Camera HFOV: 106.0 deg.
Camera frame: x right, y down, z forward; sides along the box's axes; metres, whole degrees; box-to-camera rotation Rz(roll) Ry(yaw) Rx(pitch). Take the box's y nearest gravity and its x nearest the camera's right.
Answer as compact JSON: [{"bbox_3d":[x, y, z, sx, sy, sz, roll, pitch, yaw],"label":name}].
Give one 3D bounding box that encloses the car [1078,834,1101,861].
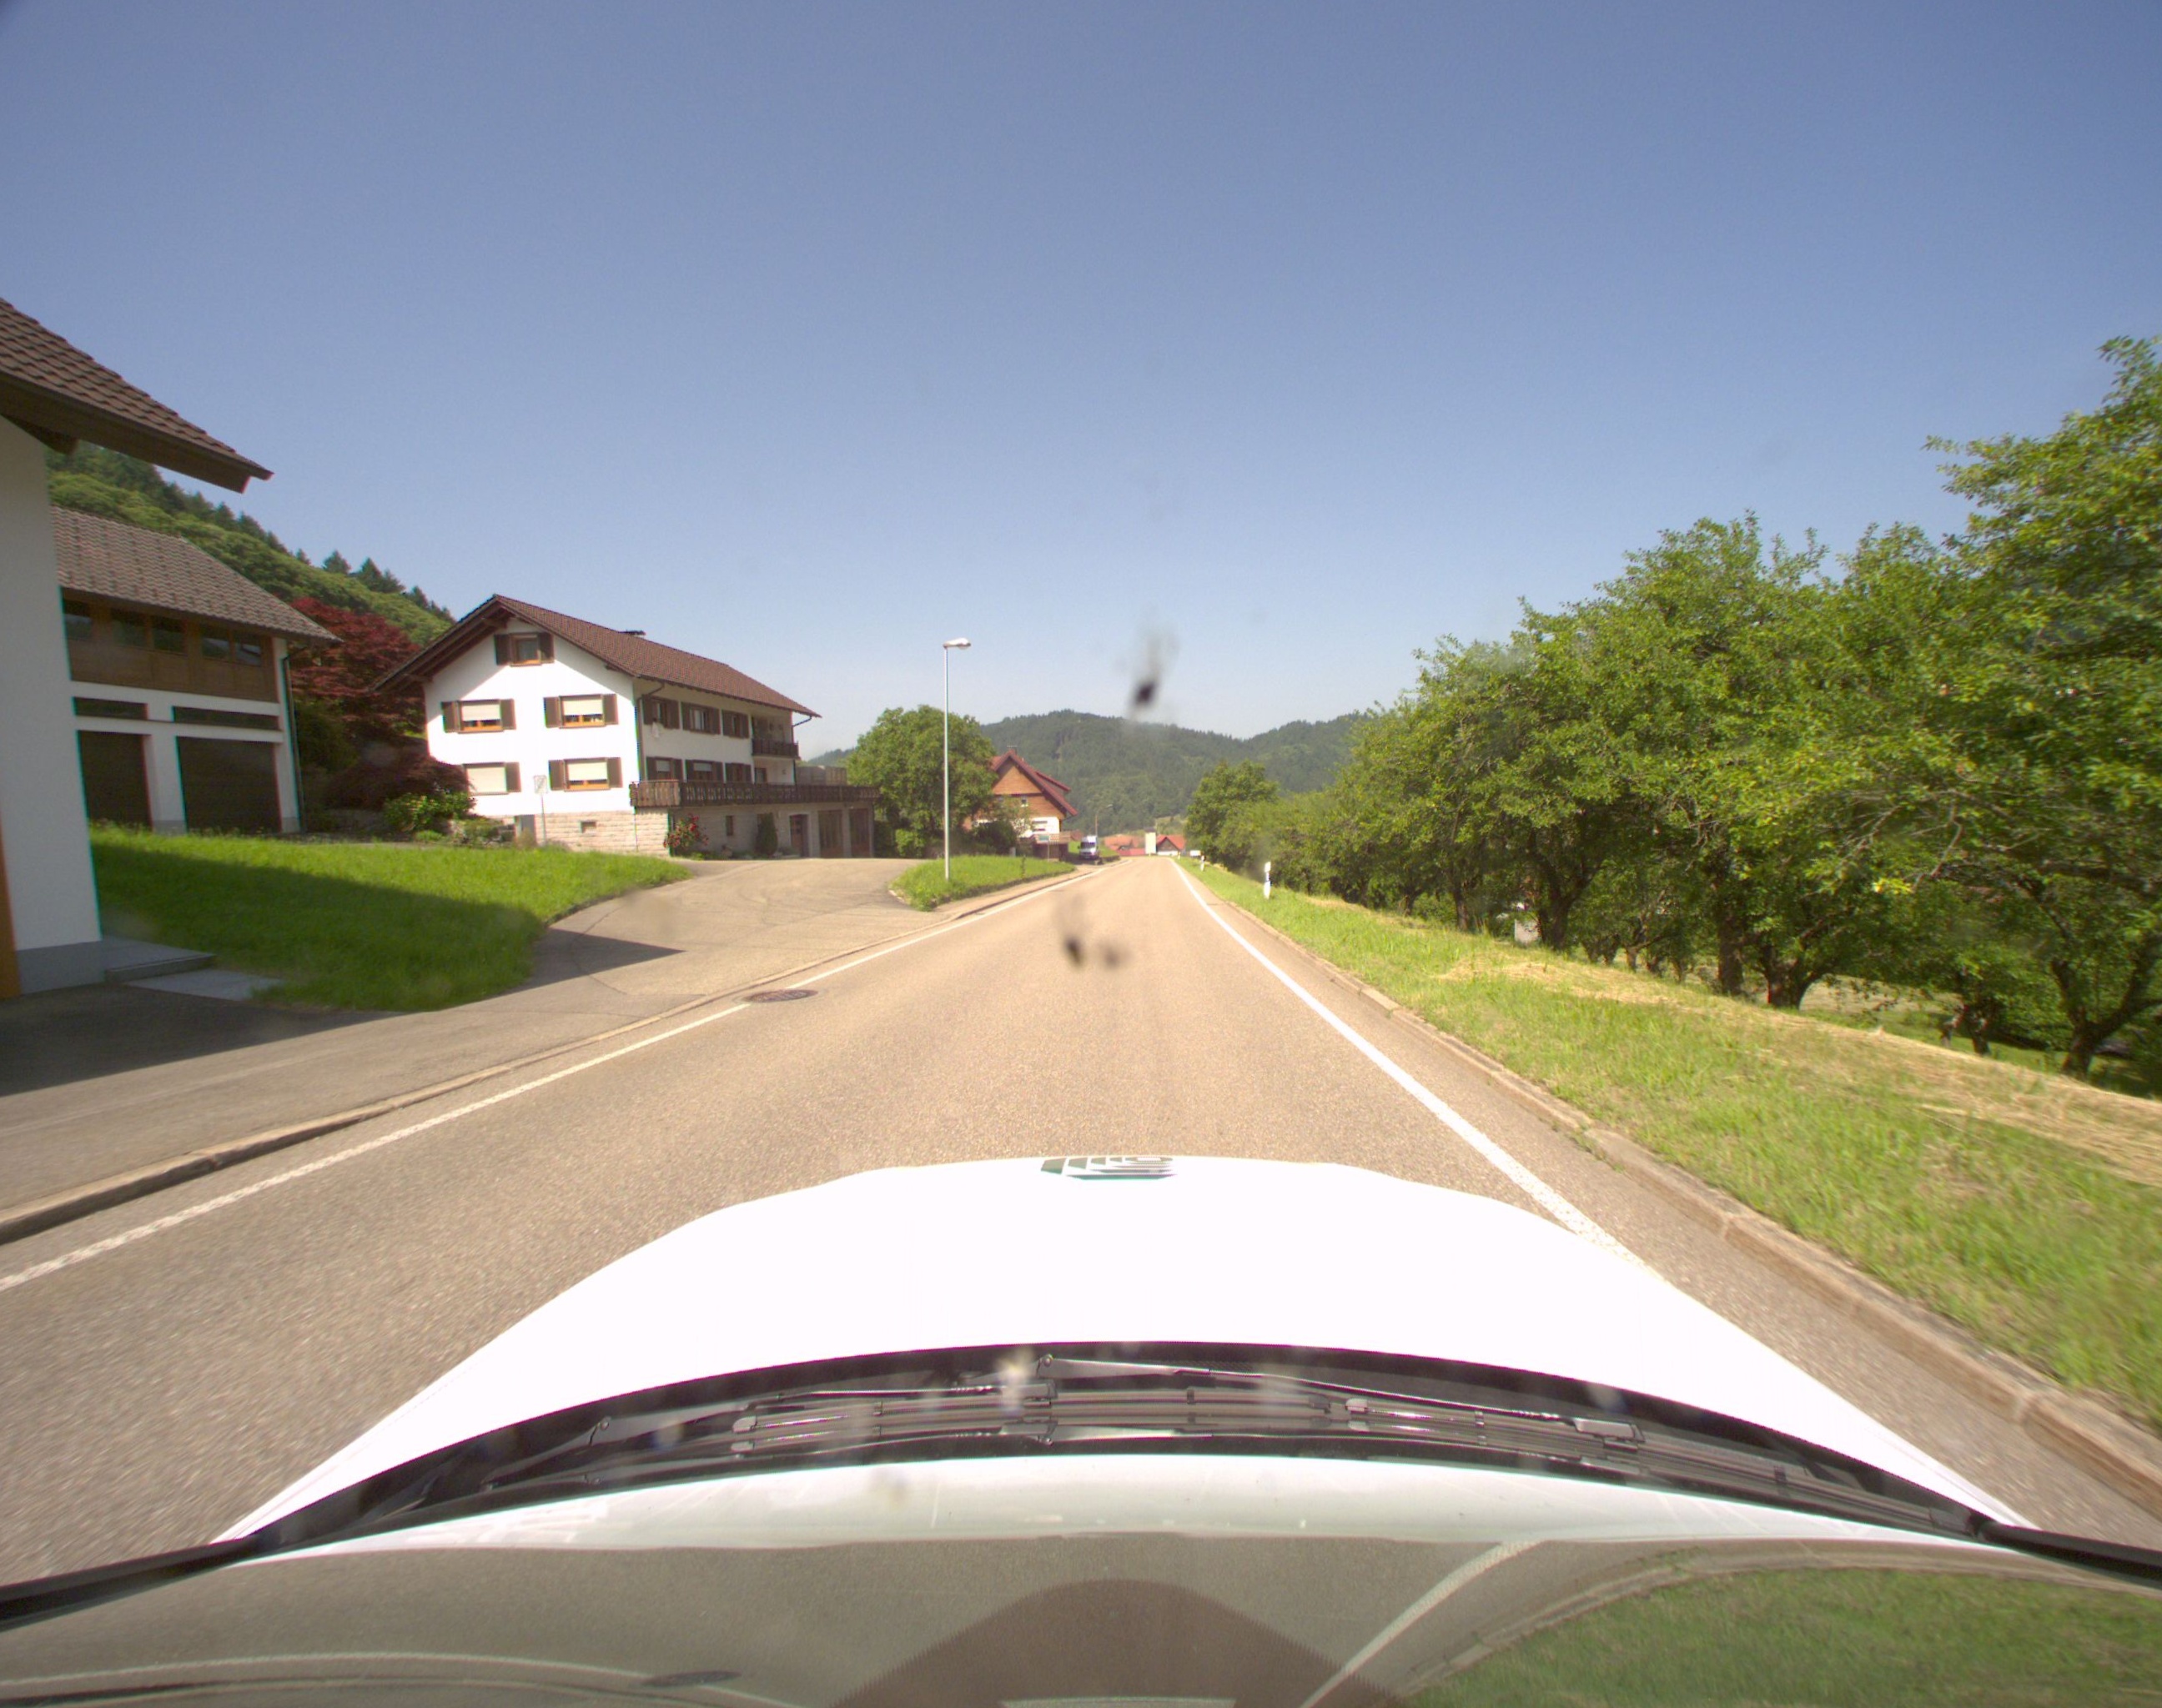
[{"bbox_3d":[1.036,-0.806,94.984,2.057,2.688,7.186,-2,3,5],"label":"car"}]
